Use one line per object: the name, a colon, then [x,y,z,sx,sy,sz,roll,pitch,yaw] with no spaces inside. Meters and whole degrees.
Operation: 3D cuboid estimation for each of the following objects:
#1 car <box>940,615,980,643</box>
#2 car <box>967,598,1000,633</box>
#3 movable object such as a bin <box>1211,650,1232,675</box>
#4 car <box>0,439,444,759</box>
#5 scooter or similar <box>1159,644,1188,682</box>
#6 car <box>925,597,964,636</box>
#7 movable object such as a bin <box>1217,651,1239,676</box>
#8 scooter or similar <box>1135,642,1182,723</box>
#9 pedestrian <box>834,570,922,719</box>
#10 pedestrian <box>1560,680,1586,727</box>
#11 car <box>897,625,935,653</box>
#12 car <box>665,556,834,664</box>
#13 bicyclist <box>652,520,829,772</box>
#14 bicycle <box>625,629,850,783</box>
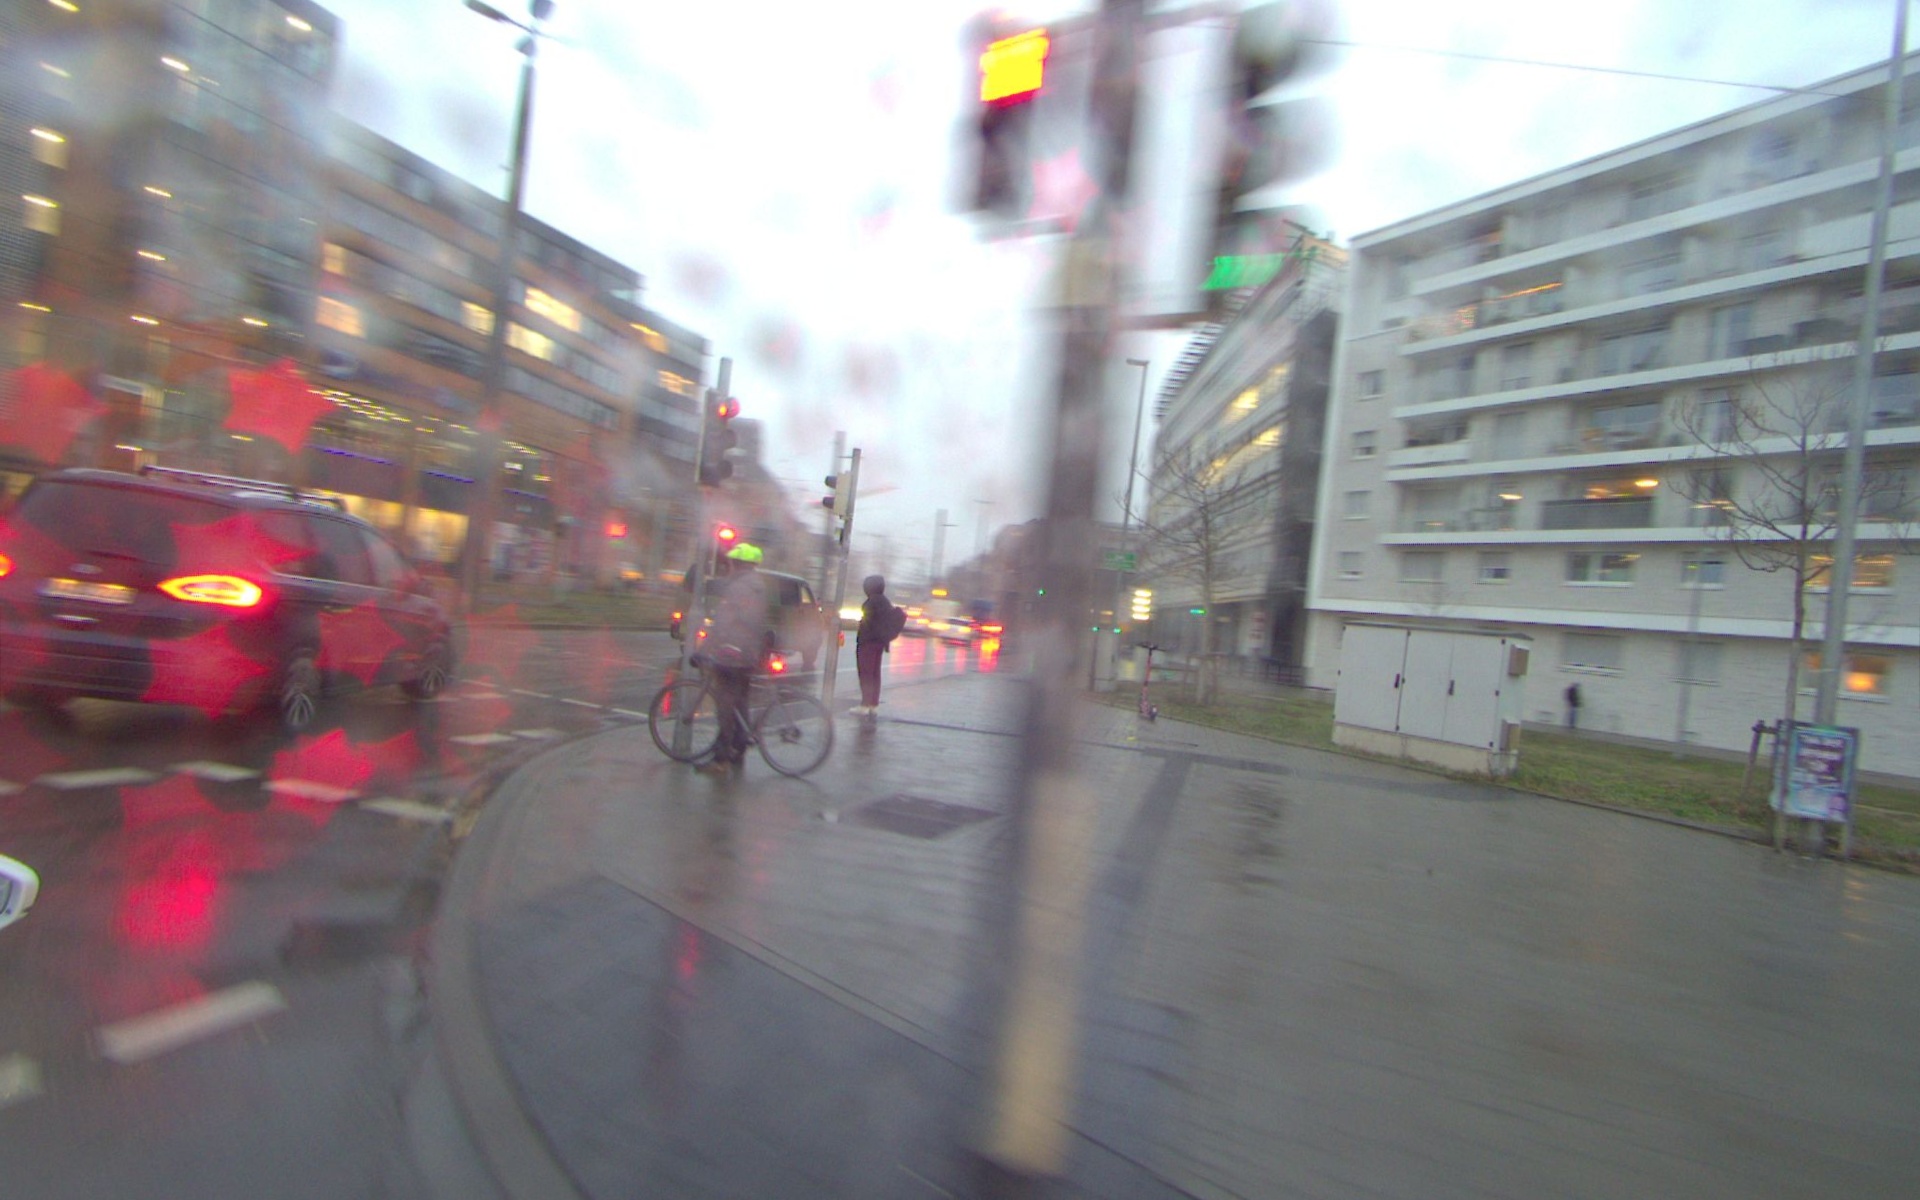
car: [0.046,1.728,59.365,1.613,1.377,3.736,7,-1,10]
car: [2.248,1.486,94.830,2.318,2.860,6.364,7,-1,6]
movable object such as a bin: [15.184,3.621,58.424,0.831,1.310,1.168,5,0,-1]
car: [-5.693,-0.005,8.138,1.653,1.801,3.990,7,-1,-14]
scooter or similar: [7.686,2.289,36.206,0.657,1.241,1.558,6,-2,21]
car: [-1.078,1.215,71.512,1.962,2.456,5.978,7,-1,5]
movable object such as a bin: [15.180,3.592,57.011,0.831,1.310,1.168,5,0,-1]
scooter or similar: [3.275,1.340,16.666,0.328,1.221,1.309,7,-1,-2]
pedestrian: [-1.107,0.600,13.577,0.770,1.900,0.628,6,0,-42]
pedestrian: [22.570,3.803,37.038,0.622,1.652,0.721,7,0,28]
car: [-2.702,2.410,62.823,1.612,1.514,3.687,7,0,8]
car: [-4.261,0.263,21.190,1.814,1.827,4.490,7,-1,9]
bicyclist: [-1.823,0.371,8.388,0.973,1.913,0.791,7,0,32]
bicycle: [-1.899,0.854,8.483,1.835,0.985,0.656,6,0,32]
